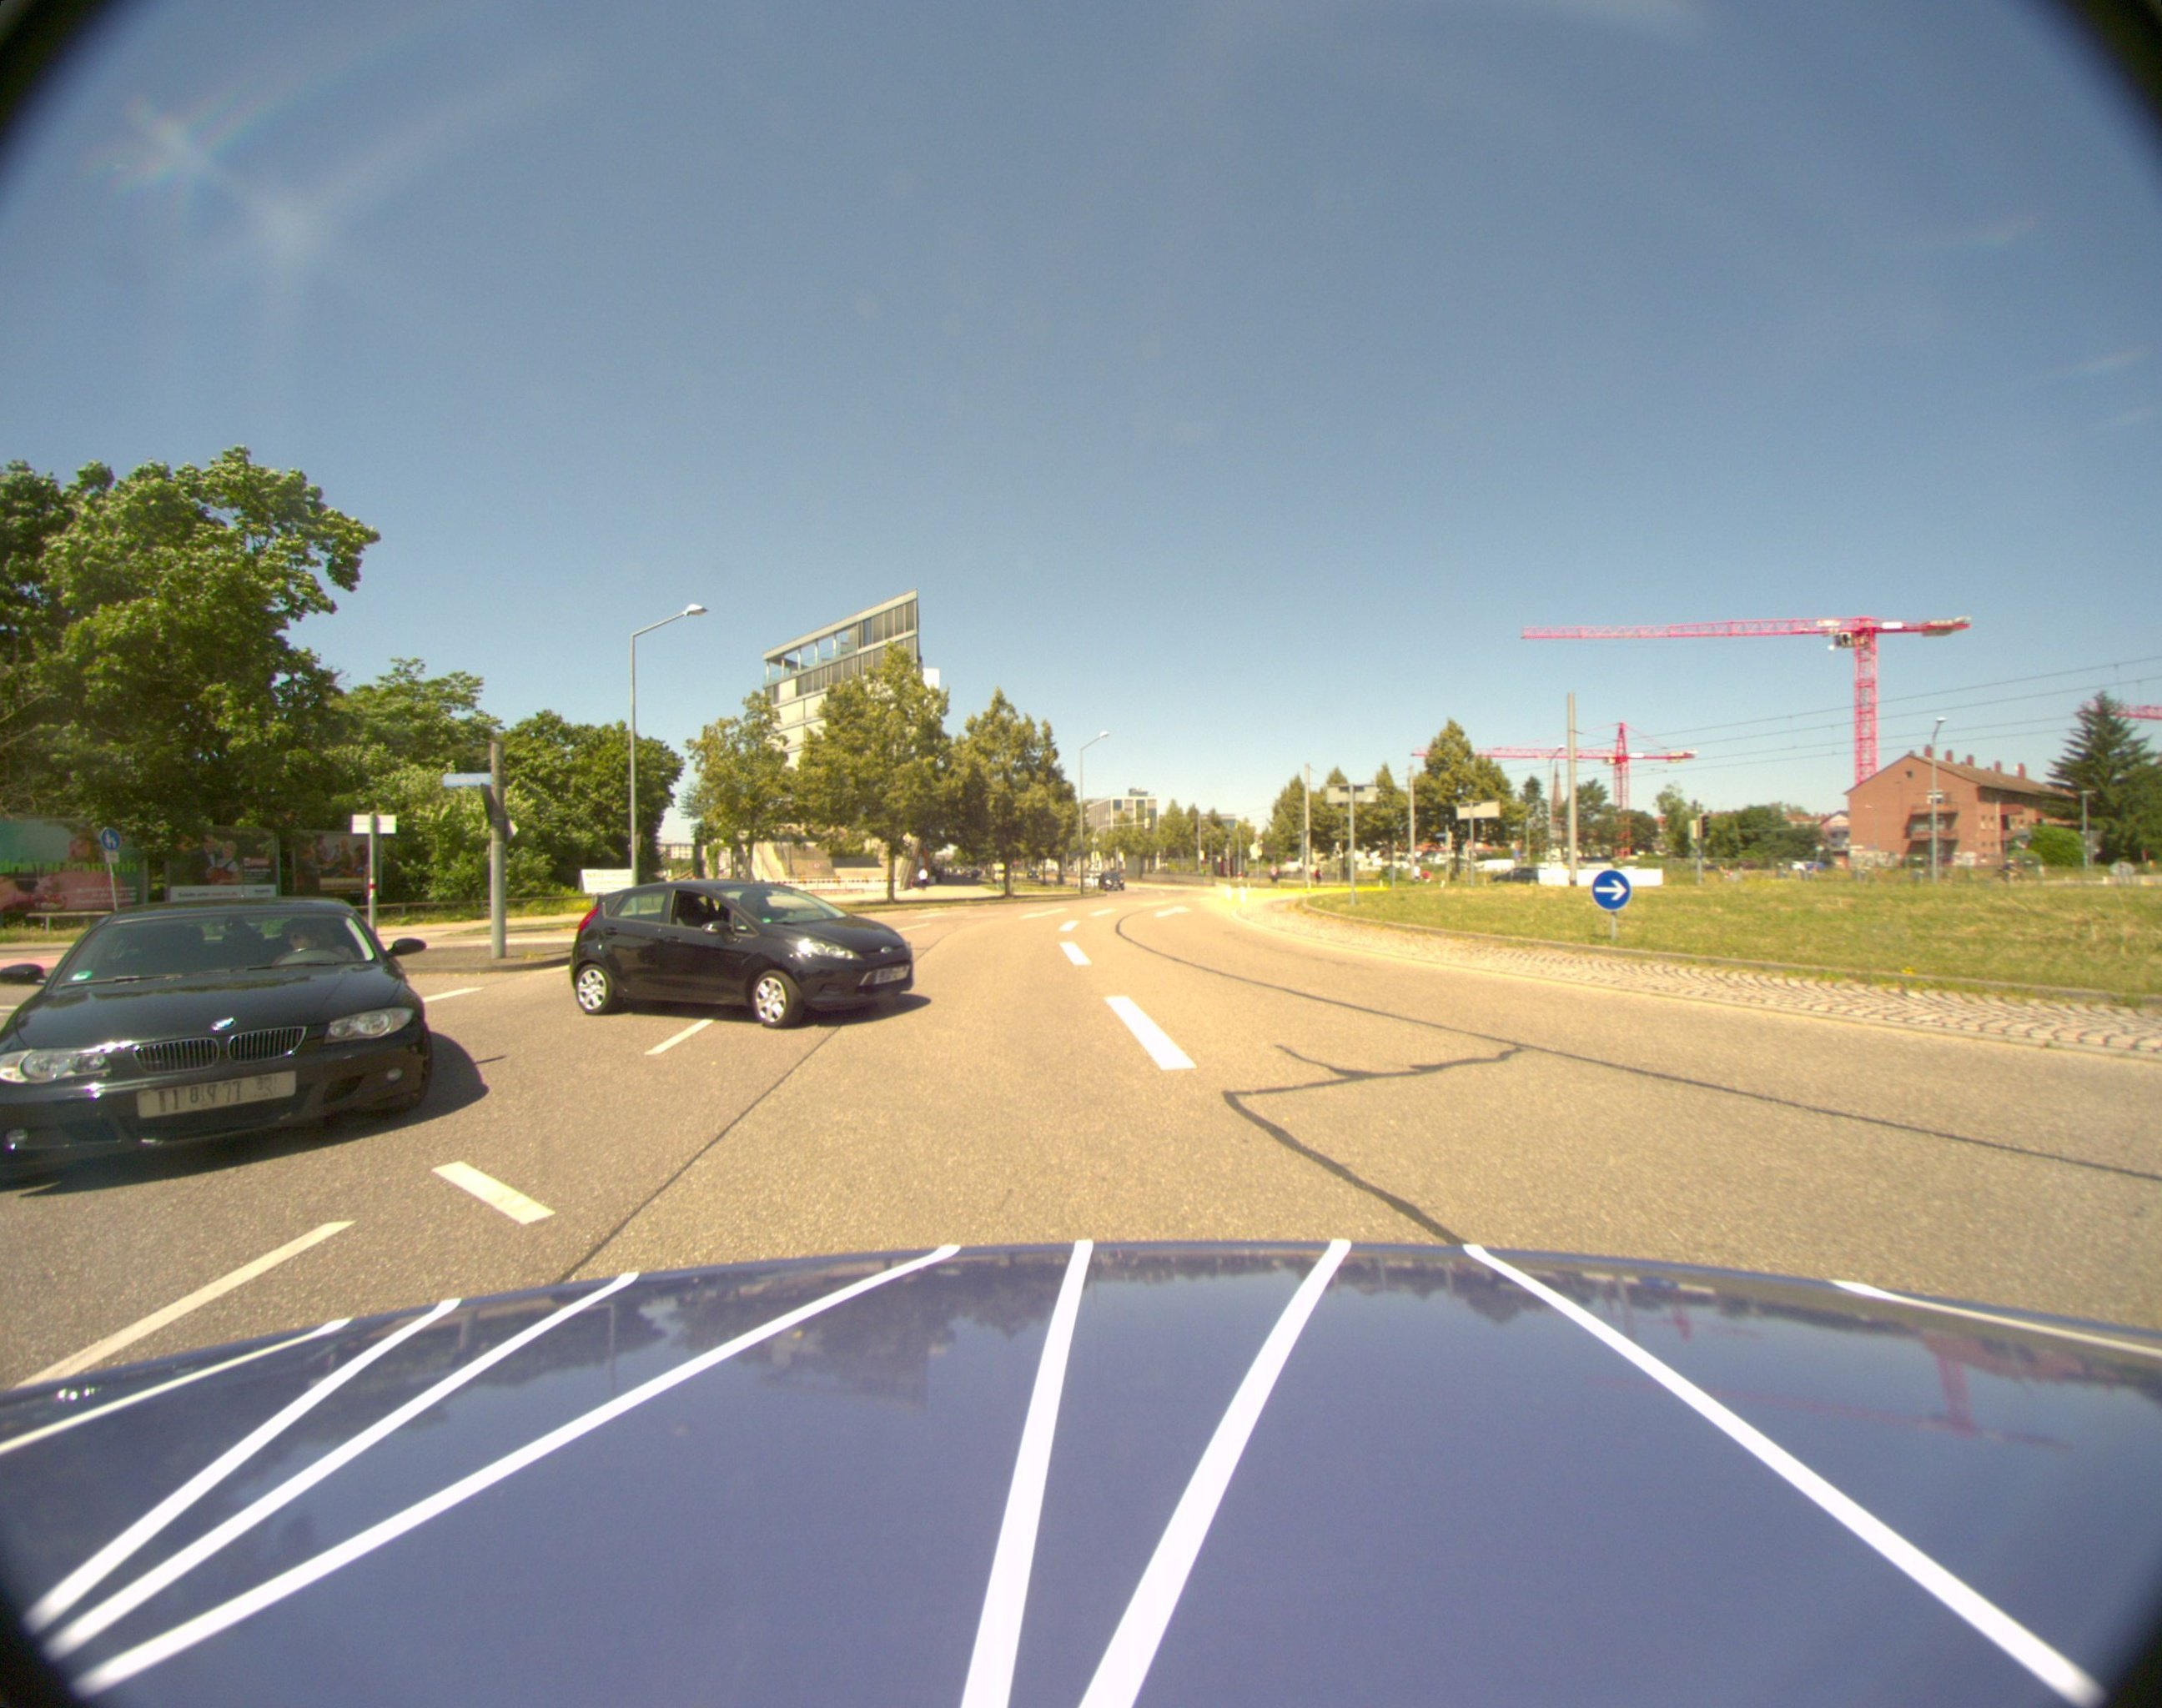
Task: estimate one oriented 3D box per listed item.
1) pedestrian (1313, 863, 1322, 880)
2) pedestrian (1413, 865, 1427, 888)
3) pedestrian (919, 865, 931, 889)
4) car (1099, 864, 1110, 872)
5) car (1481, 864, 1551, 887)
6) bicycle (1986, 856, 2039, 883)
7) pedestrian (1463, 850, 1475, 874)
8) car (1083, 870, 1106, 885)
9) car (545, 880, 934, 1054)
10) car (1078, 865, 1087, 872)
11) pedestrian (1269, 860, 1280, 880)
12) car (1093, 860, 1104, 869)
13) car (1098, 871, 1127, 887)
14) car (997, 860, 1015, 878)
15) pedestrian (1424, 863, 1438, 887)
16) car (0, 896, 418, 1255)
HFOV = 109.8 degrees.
[{"bbox_3d":[20.121,1.504,64.531,0.597,1.398,0.544,-1,0,2],"label":"pedestrian"},{"bbox_3d":[28.248,1.873,63.381,0.814,1.887,0.732,0,1,1],"label":"pedestrian"},{"bbox_3d":[-12.556,1.836,61.292,0.834,1.858,0.611,0,1,3],"label":"pedestrian"},{"bbox_3d":[5.777,3.442,186.816,2.001,2.002,3.897,0,1,-13],"label":"car"},{"bbox_3d":[31.942,1.544,55.847,2.004,1.455,3.988,-1,1,-42],"label":"car"},{"bbox_3d":[60.163,0.973,49.107,2.079,1.675,0.561,1,2,43],"label":"bicycle"},{"bbox_3d":[32.734,0.667,64.060,0.595,2.002,0.602,0,1,-11],"label":"pedestrian"},{"bbox_3d":[1.201,2.171,70.948,1.577,1.218,3.320,0,1,-9],"label":"car"},{"bbox_3d":[-3.683,1.065,8.213,3.810,1.499,1.636,-1,0,22],"label":"car"},{"bbox_3d":[0.477,4.302,224.321,2.000,2.002,3.996,0,1,-9],"label":"car"},{"bbox_3d":[16.308,1.361,64.044,0.760,1.630,0.781,0,1,1],"label":"pedestrian"},{"bbox_3d":[4.457,2.726,197.344,2.001,2.002,3.897,0,1,-13],"label":"car"},{"bbox_3d":[2.670,2.152,65.015,1.741,1.205,3.563,0,1,-9],"label":"car"},{"bbox_3d":[-10.619,2.140,106.926,2.001,2.493,3.996,-1,-1,-14],"label":"car"},{"bbox_3d":[29.148,1.751,63.267,0.746,2.002,0.732,0,1,1],"label":"pedestrian"},{"bbox_3d":[-5.848,1.096,5.154,1.806,1.432,3.989,-2,0,-44],"label":"car"}]
